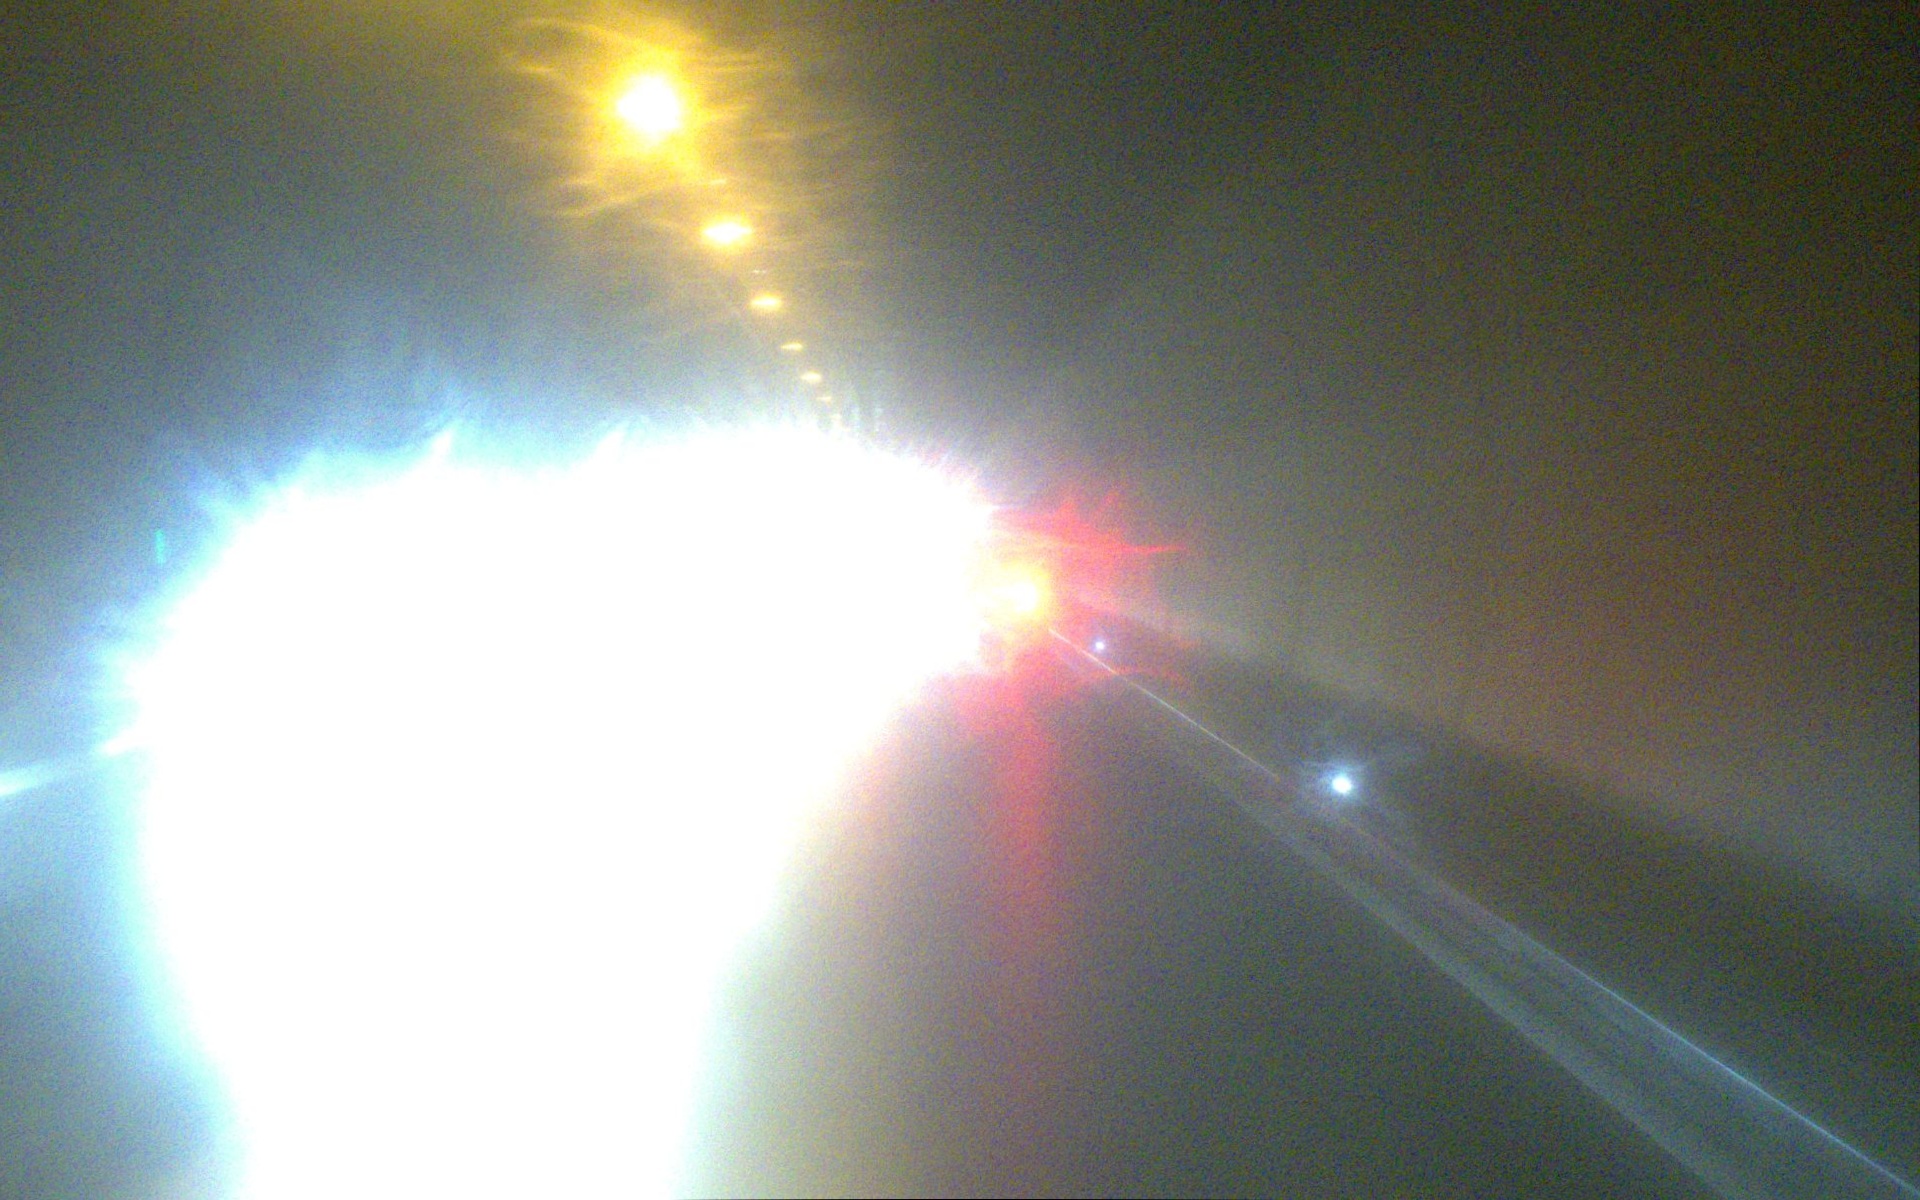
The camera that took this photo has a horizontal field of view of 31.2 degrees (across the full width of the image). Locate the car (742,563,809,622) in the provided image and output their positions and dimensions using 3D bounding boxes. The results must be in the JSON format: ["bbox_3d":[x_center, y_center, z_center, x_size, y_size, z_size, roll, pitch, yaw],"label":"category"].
[{"bbox_3d":[-5.091,-0.227,95.052,1.635,1.529,3.646,-1,1,0],"label":"car"}]

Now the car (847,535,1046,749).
[{"bbox_3d":[-0.121,0.313,30.928,1.635,1.752,4.146,-1,1,0],"label":"car"}]

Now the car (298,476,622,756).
[{"bbox_3d":[-3.660,0.054,25.918,1.761,1.893,4.608,-1,1,0],"label":"car"}]
